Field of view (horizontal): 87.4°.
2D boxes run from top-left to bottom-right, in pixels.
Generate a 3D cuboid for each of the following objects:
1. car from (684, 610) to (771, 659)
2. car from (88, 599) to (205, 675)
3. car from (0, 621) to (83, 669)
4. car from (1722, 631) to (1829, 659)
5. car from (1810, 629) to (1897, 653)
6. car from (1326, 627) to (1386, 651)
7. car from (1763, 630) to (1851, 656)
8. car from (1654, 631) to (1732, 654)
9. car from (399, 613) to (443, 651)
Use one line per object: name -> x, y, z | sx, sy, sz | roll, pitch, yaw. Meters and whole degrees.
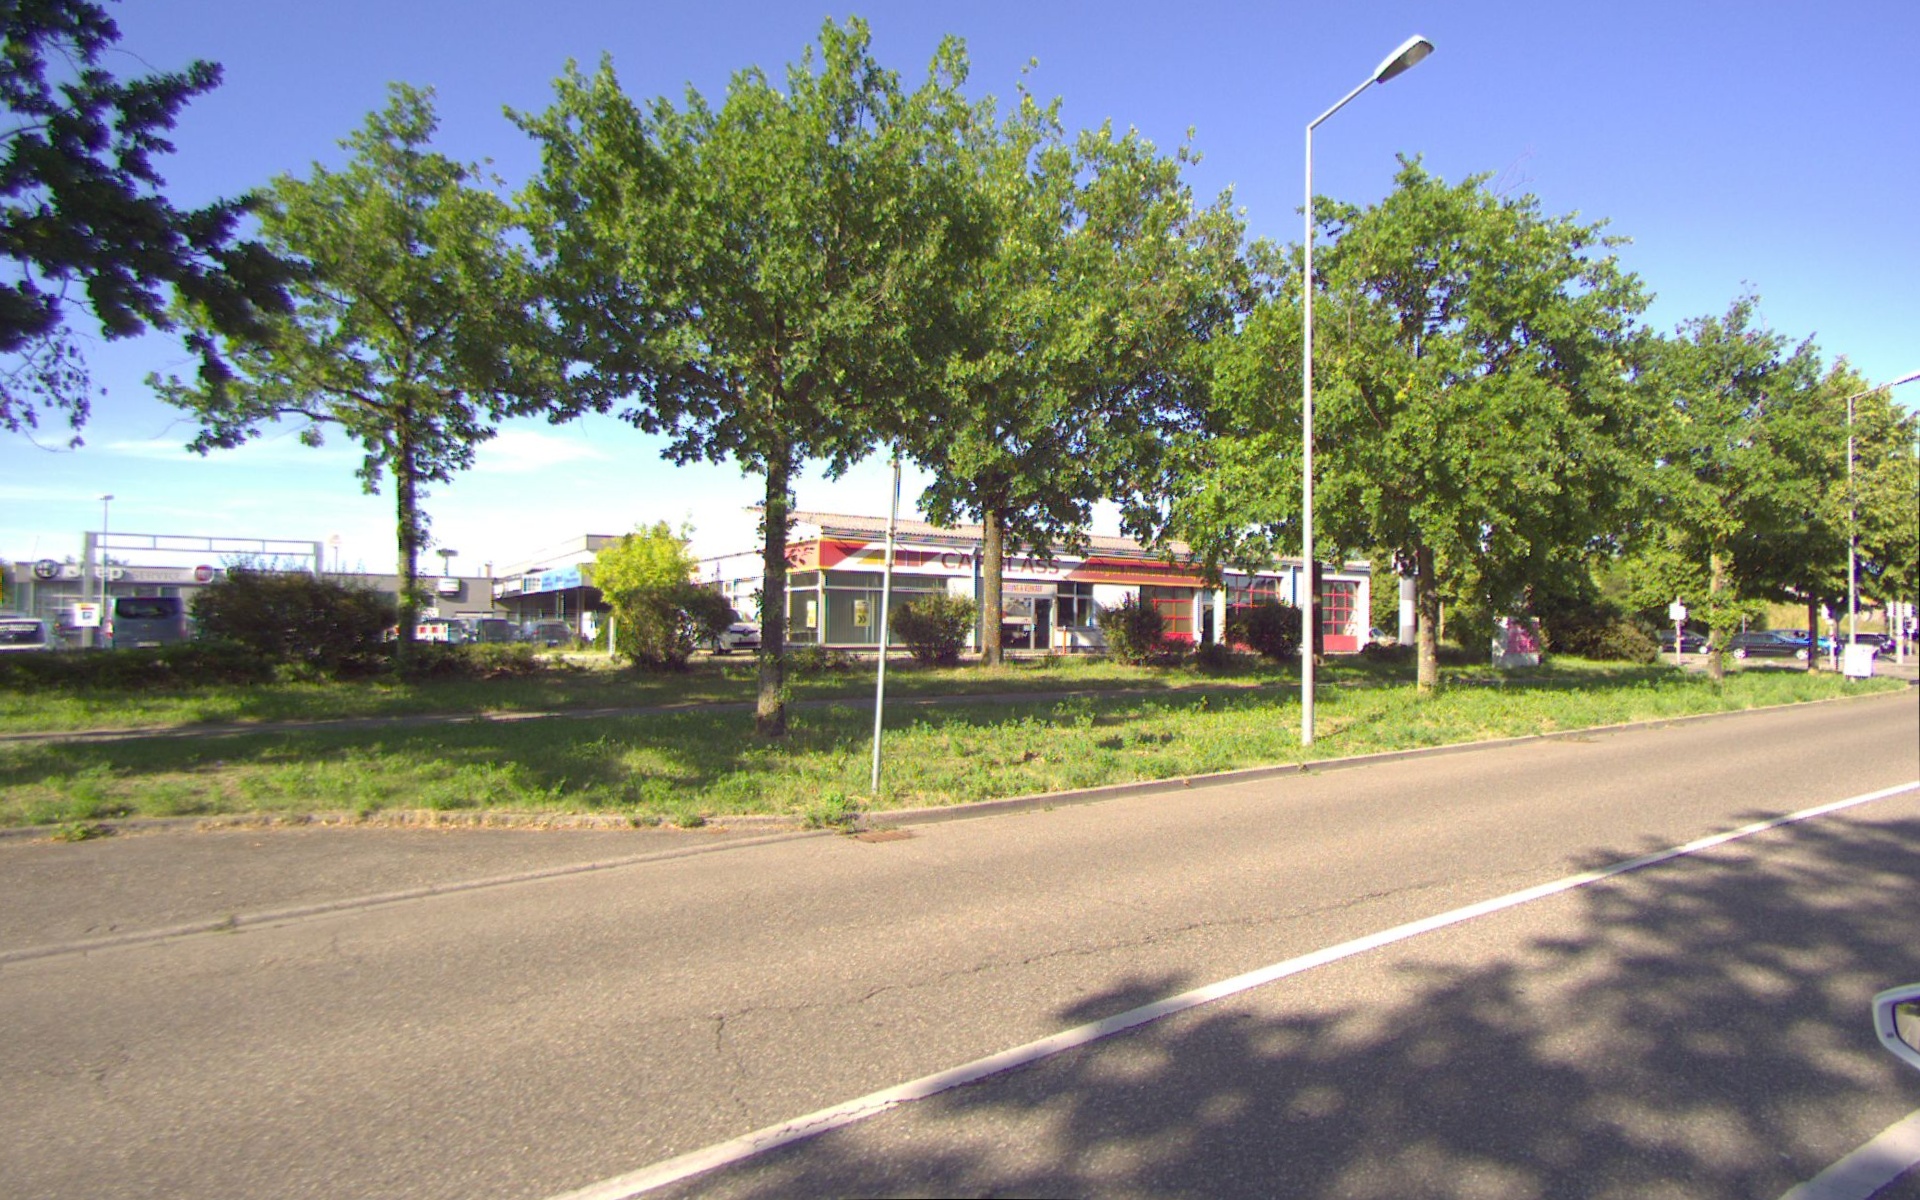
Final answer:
car -> -7.789, 1.136, 33.439 | 1.578, 1.517, 3.571 | 2, -2, -36
car -> -24.624, 1.121, 30.606 | 2.278, 2.097, 5.375 | 1, -2, -34
car -> -27.206, 1.301, 29.600 | 1.558, 1.319, 3.501 | 1, -2, -34
car -> 45.987, 2.520, 56.742 | 1.666, 1.460, 4.433 | 1, -2, -35
car -> 56.233, 2.589, 63.269 | 1.668, 1.358, 3.861 | 2, -1, -39
car -> 30.342, 2.970, 77.098 | 1.448, 1.824, 4.072 | 3, -3, -44
car -> 51.341, 2.601, 60.925 | 1.668, 1.403, 3.815 | 2, -1, -39
car -> 47.632, 2.735, 65.314 | 1.495, 1.330, 3.815 | 2, -1, -39
car -> -30.212, 1.807, 56.257 | 1.864, 2.040, 3.965 | 1, -2, -32
